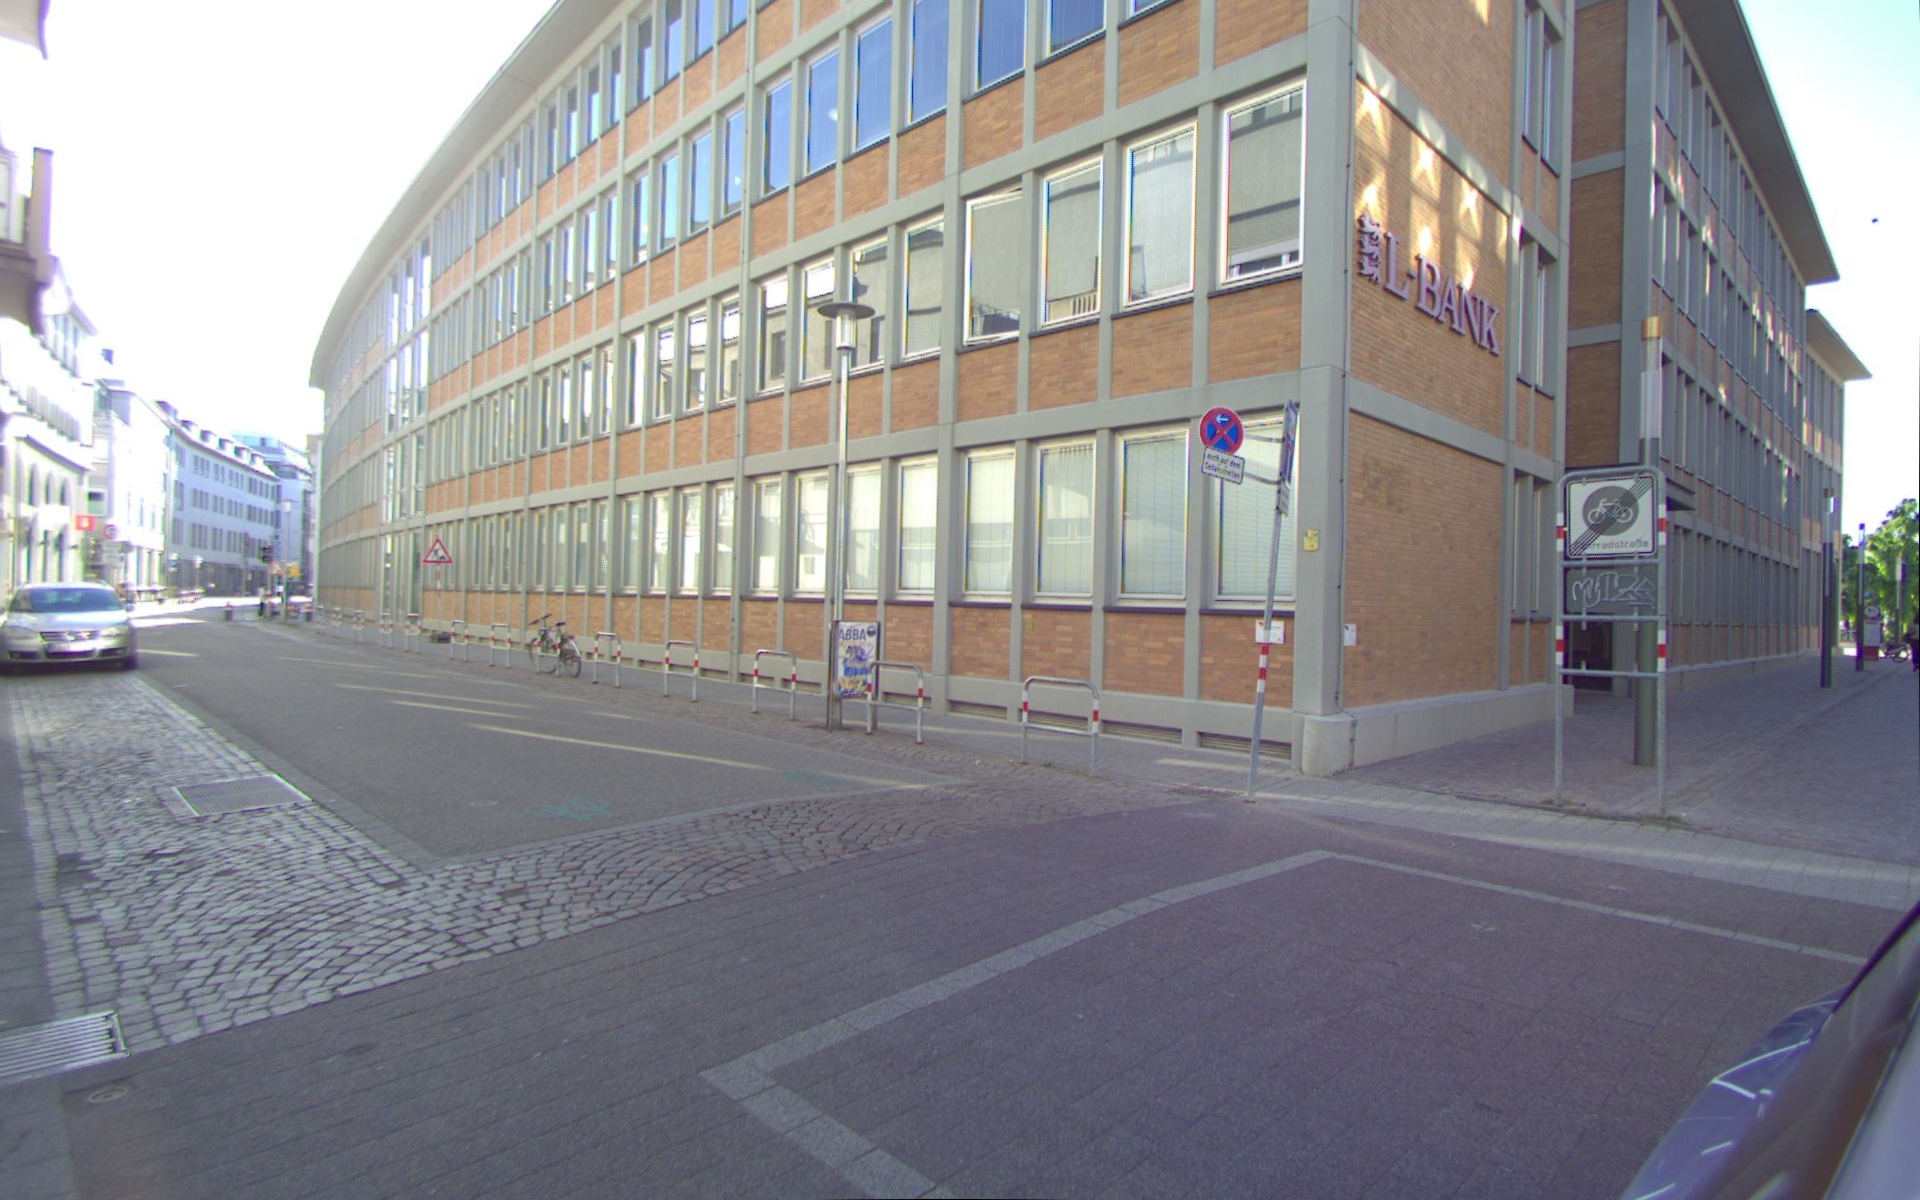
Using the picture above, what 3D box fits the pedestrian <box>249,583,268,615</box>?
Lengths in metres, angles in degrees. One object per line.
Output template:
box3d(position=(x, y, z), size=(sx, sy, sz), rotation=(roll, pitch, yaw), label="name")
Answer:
box3d(position=(-32.229, -0.048, 46.504), size=(0.648, 1.459, 0.594), rotation=(1, 0, -42), label="pedestrian")

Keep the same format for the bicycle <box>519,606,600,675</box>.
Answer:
box3d(position=(-7.130, 0.689, 17.959), size=(0.627, 1.130, 1.925), rotation=(1, 0, -44), label="bicycle")

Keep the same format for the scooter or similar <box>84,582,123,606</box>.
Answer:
box3d(position=(-44.466, -0.295, 52.545), size=(1.929, 1.212, 0.531), rotation=(1, 0, 15), label="scooter or similar")

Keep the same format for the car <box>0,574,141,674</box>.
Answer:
box3d(position=(-15.146, 0.307, 17.119), size=(1.741, 1.488, 3.805), rotation=(-1, 2, -43), label="car")

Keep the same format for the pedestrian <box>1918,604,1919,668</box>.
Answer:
box3d(position=(27.789, 1.045, 28.877), size=(0.641, 1.809, 0.637), rotation=(5, -3, -44), label="pedestrian")
